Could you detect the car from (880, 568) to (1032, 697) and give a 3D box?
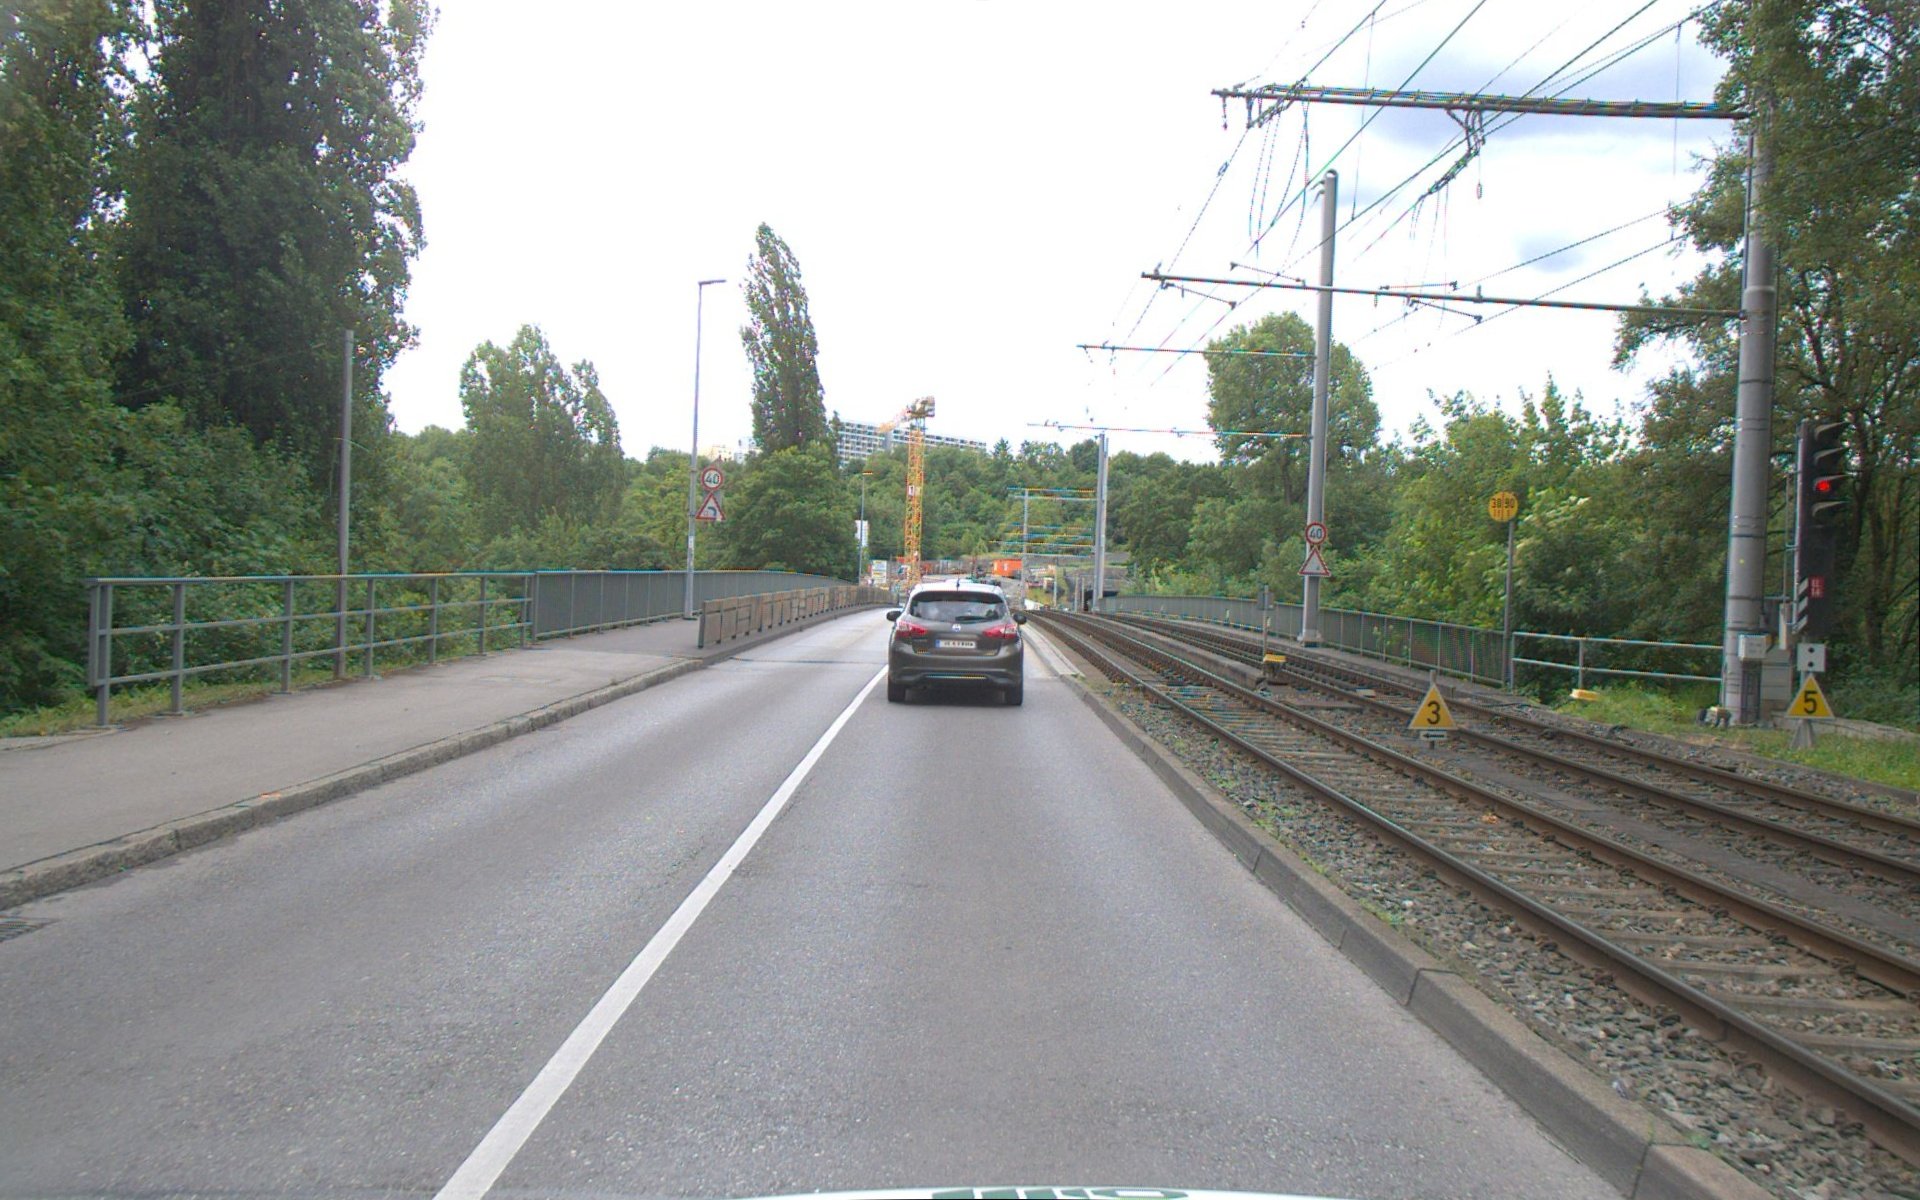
[{"bbox_3d":[-0.138,0.405,22.335,1.793,1.536,3.997,2,0,-3],"label":"car"}]

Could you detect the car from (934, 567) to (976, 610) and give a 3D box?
[{"bbox_3d":[-0.221,-0.520,69.597,1.646,1.634,4.309,3,1,-1],"label":"car"}]

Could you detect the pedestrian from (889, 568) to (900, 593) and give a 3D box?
[{"bbox_3d":[-4.690,-1.384,118.204,0.706,1.731,0.723,2,0,0],"label":"pedestrian"}]

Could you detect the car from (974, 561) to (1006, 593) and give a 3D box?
[{"bbox_3d":[1.647,-1.300,90.859,1.645,1.634,4.310,3,1,1],"label":"car"}]
